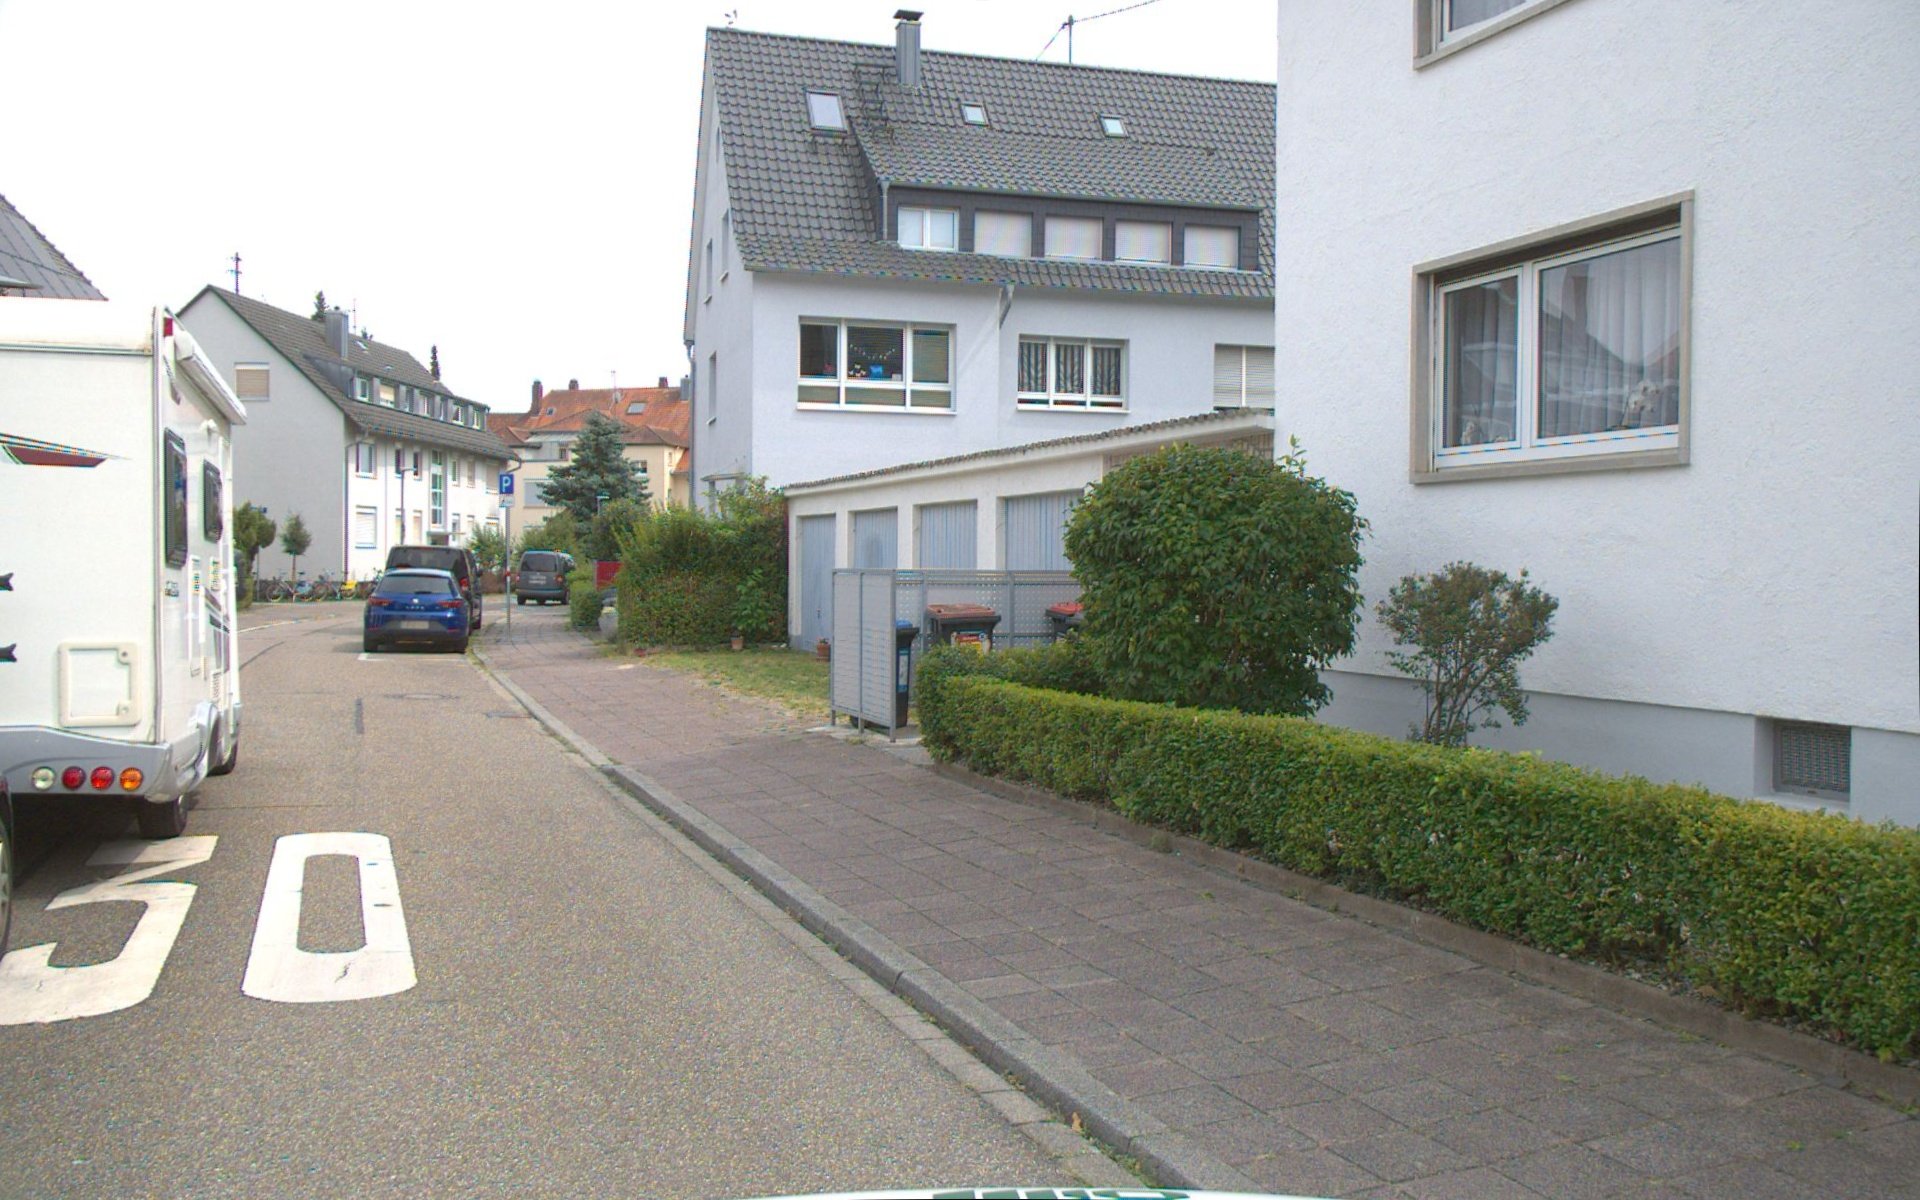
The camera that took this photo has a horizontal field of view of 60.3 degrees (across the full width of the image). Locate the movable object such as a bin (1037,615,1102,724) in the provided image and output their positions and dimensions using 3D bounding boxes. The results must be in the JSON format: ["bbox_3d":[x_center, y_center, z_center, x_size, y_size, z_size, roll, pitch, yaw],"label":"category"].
[{"bbox_3d":[1.016,0.634,15.370,0.447,0.990,0.504,0,-1,-20],"label":"movable object such as a bin"}]

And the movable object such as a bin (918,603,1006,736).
[{"bbox_3d":[0.007,0.608,14.861,0.571,1.157,0.750,0,-1,-20],"label":"movable object such as a bin"}]

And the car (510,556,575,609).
[{"bbox_3d":[-14.684,-0.585,58.392,1.819,1.773,4.337,0,-1,-9],"label":"car"}]

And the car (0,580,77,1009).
[{"bbox_3d":[-3.797,0.647,4.610,1.632,1.447,3.750,0,-1,-17],"label":"car"}]

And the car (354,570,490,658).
[{"bbox_3d":[-9.648,0.261,29.911,1.690,1.477,3.992,0,-1,-9],"label":"car"}]

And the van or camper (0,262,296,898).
[{"bbox_3d":[-5.547,-0.053,9.989,2.366,2.773,6.131,0,-1,-18],"label":"van or camper"}]

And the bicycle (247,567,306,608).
[{"bbox_3d":[-23.901,-0.432,57.847,1.817,1.397,0.663,0,-1,-33],"label":"bicycle"}]

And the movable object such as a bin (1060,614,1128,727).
[{"bbox_3d":[1.196,0.622,14.810,0.447,0.990,0.504,0,-1,-20],"label":"movable object such as a bin"}]

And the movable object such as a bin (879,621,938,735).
[{"bbox_3d":[-0.456,0.677,14.617,0.384,0.990,0.512,0,-1,-20],"label":"movable object such as a bin"}]

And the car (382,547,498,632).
[{"bbox_3d":[-11.500,-0.195,36.831,1.819,1.773,4.337,0,-1,-9],"label":"car"}]

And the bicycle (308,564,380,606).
[{"bbox_3d":[-22.077,-0.527,59.309,2.334,1.486,0.708,1,-1,-43],"label":"bicycle"}]
